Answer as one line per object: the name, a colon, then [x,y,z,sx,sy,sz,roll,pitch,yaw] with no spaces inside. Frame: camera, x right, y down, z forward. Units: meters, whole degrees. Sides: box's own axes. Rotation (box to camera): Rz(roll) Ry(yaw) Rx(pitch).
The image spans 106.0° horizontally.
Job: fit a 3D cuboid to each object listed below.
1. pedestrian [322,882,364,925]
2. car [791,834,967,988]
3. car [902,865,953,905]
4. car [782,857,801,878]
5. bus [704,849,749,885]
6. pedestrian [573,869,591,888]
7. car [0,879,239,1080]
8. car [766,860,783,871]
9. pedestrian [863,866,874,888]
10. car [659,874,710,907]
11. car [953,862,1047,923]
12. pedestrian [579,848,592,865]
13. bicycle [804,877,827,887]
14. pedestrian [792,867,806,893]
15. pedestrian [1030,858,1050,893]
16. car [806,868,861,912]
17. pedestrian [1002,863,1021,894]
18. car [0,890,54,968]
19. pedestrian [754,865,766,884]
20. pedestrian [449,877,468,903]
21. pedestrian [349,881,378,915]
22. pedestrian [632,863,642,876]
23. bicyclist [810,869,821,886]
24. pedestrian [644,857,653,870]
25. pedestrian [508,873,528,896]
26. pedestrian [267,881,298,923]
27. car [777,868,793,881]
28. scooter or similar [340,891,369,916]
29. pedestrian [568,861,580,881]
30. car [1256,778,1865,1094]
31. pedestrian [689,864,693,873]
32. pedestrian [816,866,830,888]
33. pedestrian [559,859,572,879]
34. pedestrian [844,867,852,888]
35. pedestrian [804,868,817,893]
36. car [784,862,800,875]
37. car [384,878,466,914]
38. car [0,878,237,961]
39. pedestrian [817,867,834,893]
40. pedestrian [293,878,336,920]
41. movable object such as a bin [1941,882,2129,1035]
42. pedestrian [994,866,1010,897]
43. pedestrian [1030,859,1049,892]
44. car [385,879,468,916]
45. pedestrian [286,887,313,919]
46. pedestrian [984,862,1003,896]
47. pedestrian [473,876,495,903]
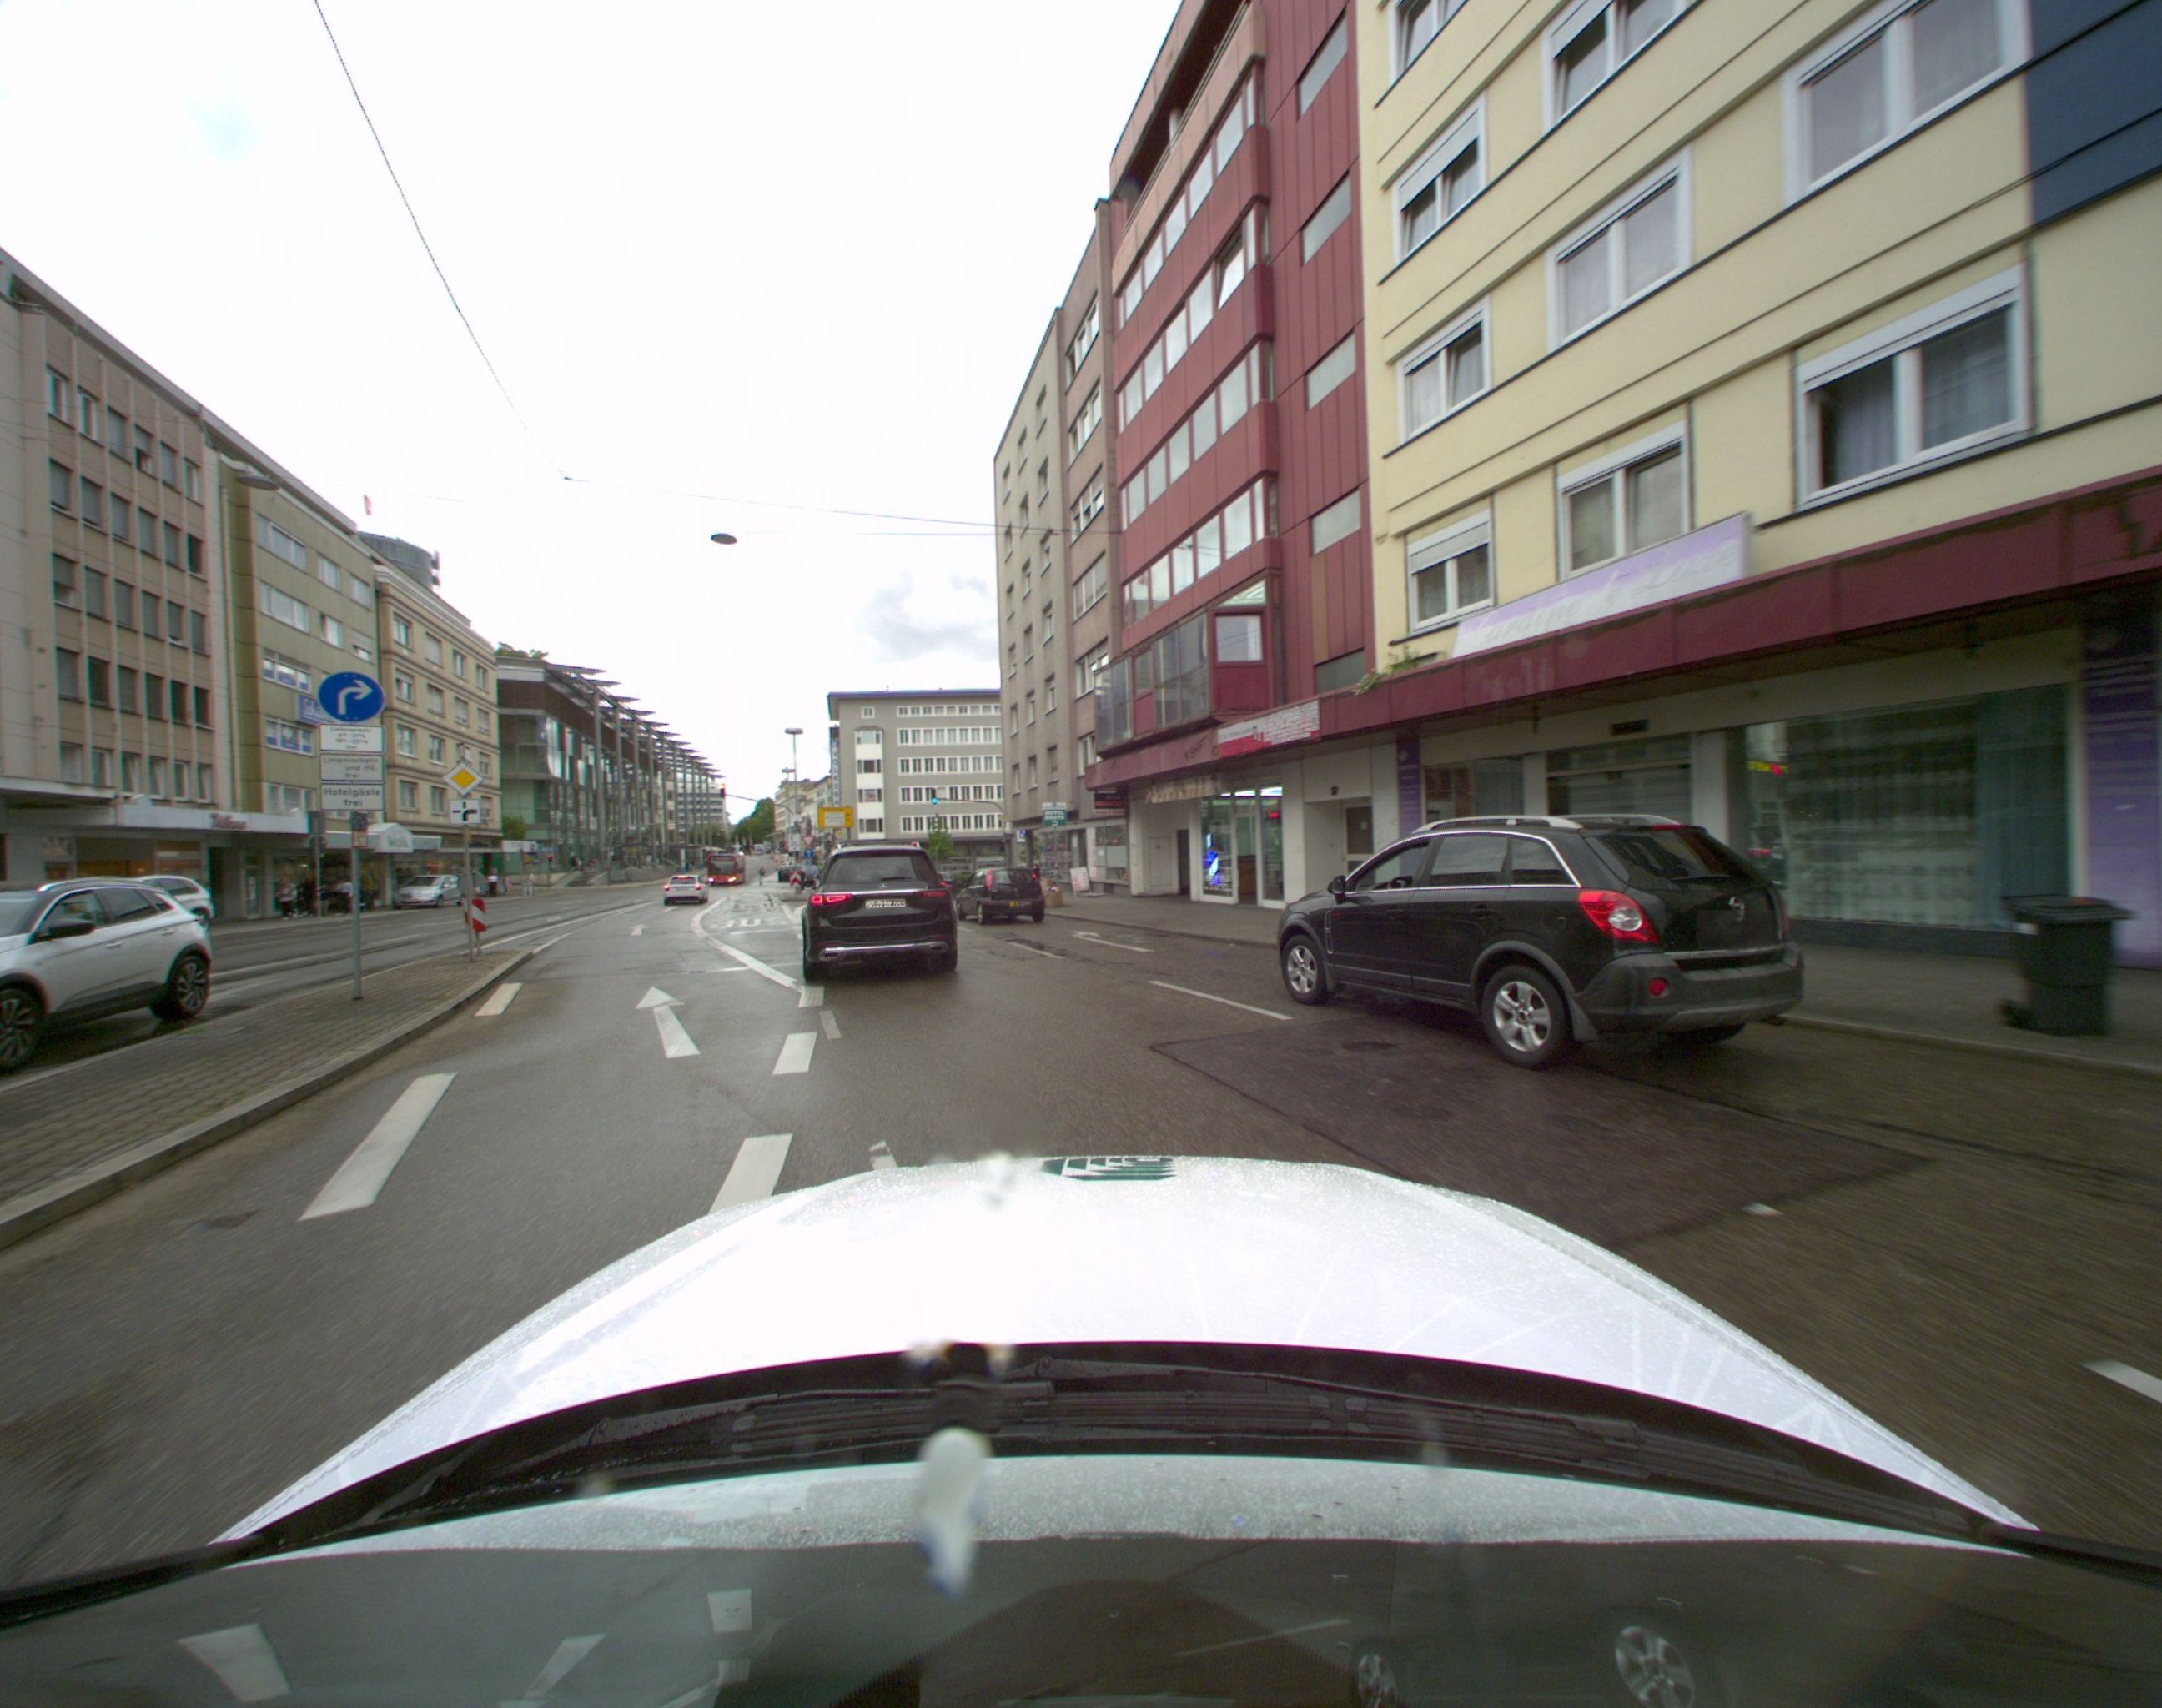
pedestrian: [-30.640,2.053,33.847,0.955,1.714,1.082,0,0,-22]
car: [-3.202,0.700,12.439,2.093,1.817,4.764,-2,0,-18]
car: [-6.750,1.295,35.568,1.953,1.574,3.980,0,0,-15]
car: [-42.426,1.985,119.262,2.454,2.958,6.107,0,-1,-22]
bus: [-37.214,1.410,86.049,2.930,3.321,18.354,-1,-1,-19]
pedestrian: [-47.544,2.328,77.539,1.033,1.713,1.010,-1,-1,7]
car: [-10.384,1.074,7.623,2.003,1.552,4.392,0,0,-25]
car: [-48.069,1.793,127.749,2.431,1.780,5.118,0,-1,-20]
pedestrian: [-17.896,1.940,68.642,0.834,1.779,0.612,0,-1,-26]
car: [-19.774,1.785,40.776,1.799,1.415,4.599,-1,0,-21]
car: [-2.213,0.985,21.388,1.721,1.420,3.747,-1,-2,-17]
pedestrian: [-49.426,0.261,81.254,1.044,1.713,0.999,-1,-1,-26]
bicycle: [-27.306,2.903,83.840,2.135,0.993,0.693,-2,-1,-7]
pedestrian: [-18.466,1.714,53.371,0.785,1.711,0.703,0,-2,-16]
pedestrian: [-2.286,1.232,45.573,0.837,1.865,0.654,-4,-4,-16]
car: [-9.951,1.413,33.042,1.953,1.574,3.980,0,0,-14]
pedestrian: [-3.783,1.324,44.484,0.736,1.635,0.599,-6,-4,21]
car: [-23.135,1.582,15.661,1.871,1.608,4.848,-1,-1,-19]
pedestrian: [-32.898,2.103,83.441,0.956,1.887,0.806,0,-1,-14]
pedestrian: [-37.765,2.159,49.417,0.788,1.537,0.676,0,-1,-22]
pedestrian: [-32.505,1.966,36.909,0.669,1.484,1.057,0,0,-21]
pedestrian: [-57.487,2.014,105.447,1.044,1.713,0.999,-1,-1,-26]
bicyclist: [-27.353,2.378,83.867,0.843,1.704,0.621,-2,-1,-6]
pedestrian: [-56.084,1.211,105.643,1.044,1.713,0.999,-1,-1,-26]
pedestrian: [-41.347,2.223,59.812,0.873,1.586,1.147,-1,-1,-17]
pedestrian: [-30.817,1.845,31.433,0.644,1.574,0.608,-1,-1,-20]
car: [-35.799,2.452,98.605,1.742,1.527,3.974,0,-1,-19]
scooter or similar: [-32.190,2.172,36.084,0.739,1.054,0.696,0,0,-22]
pedestrian: [-49.880,1.650,80.101,0.878,1.981,0.844,-1,-1,-21]
car: [3.453,0.454,6.953,1.913,1.785,4.275,-1,0,-18]
pedestrian: [-55.211,2.051,115.330,0.512,1.341,0.416,0,-1,-24]
pedestrian: [-21.149,1.899,66.714,1.015,1.787,0.846,0,-1,-26]
pedestrian: [-49.939,1.462,78.932,0.884,1.981,0.968,-1,-1,-21]
pedestrian: [-19.185,1.914,66.976,0.570,1.669,0.499,-1,-1,-13]
pedestrian: [-18.404,1.811,55.389,0.758,1.692,0.690,0,-3,-16]
car: [-40.124,1.976,113.166,1.868,1.826,4.072,0,-1,-22]
car: [-31.752,2.004,39.540,1.705,1.563,4.175,-1,-1,-18]
car: [-25.315,1.616,21.696,1.855,1.827,4.931,-1,-1,-19]
pedestrian: [-16.672,1.708,53.125,0.980,1.672,0.910,0,-1,-15]
pedestrian: [-32.156,1.871,34.167,0.955,1.695,1.079,0,0,-22]
movable object such as a bin: [6.668,0.713,5.730,0.526,0.934,0.675,-5,1,15]
pedestrian: [-4.355,1.505,45.032,0.541,1.637,0.832,-5,-4,-20]
pedestrian: [-2.225,1.183,43.914,0.836,1.723,0.615,-3,-3,-12]
car: [-31.731,2.068,39.623,1.854,1.550,4.369,1,0,-21]
pedestrian: [-31.781,2.003,33.126,0.536,1.249,0.715,0,0,-22]
pedestrian: [-4.535,1.308,42.198,0.621,1.692,0.785,-4,-2,15]
pedestrian: [-36.863,2.198,50.311,0.765,1.628,0.850,-1,-1,26]
